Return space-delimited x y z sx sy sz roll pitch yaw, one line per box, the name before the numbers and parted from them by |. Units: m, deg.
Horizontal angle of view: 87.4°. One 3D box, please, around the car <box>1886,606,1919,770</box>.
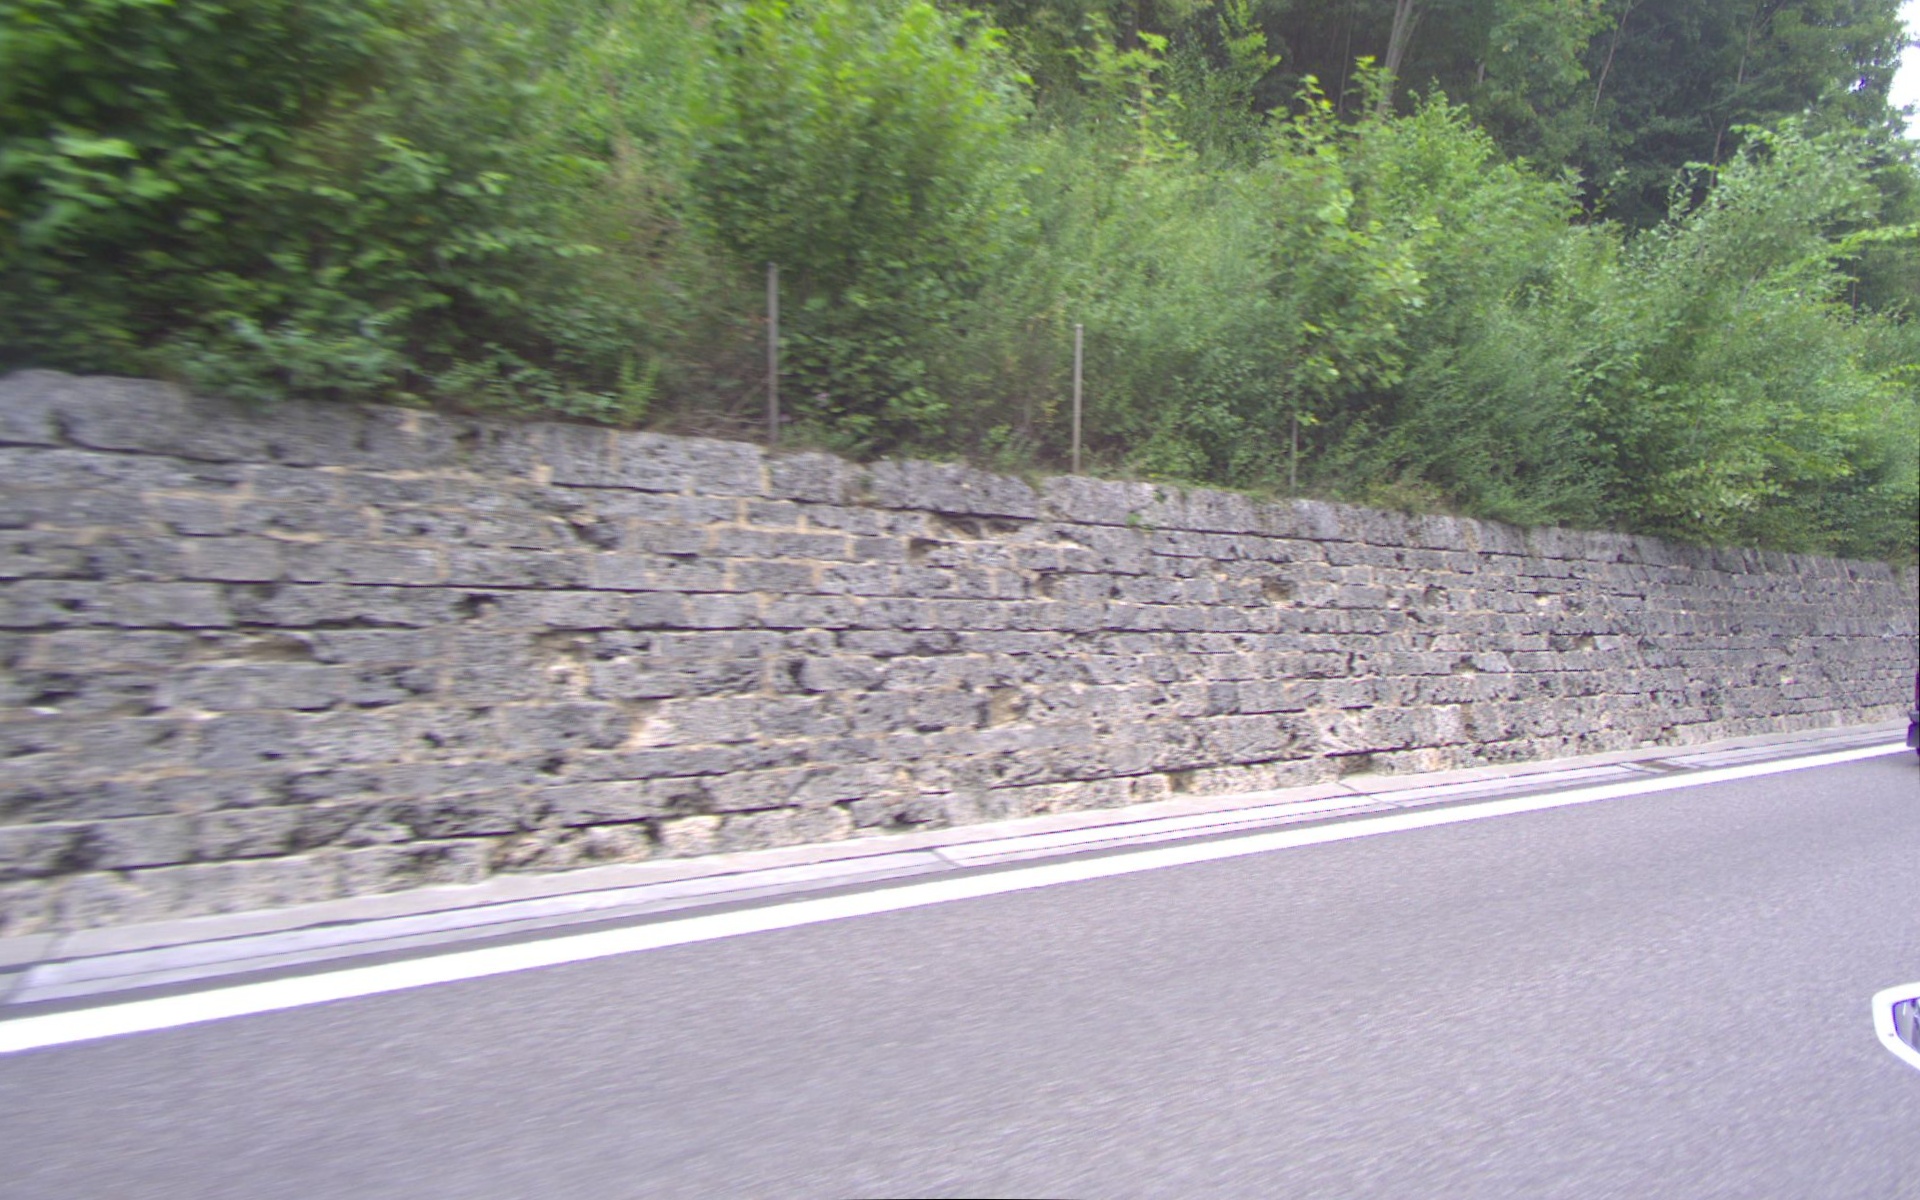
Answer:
car | 11.745 0.956 10.753 4.023 1.660 1.660 2 0 -32
